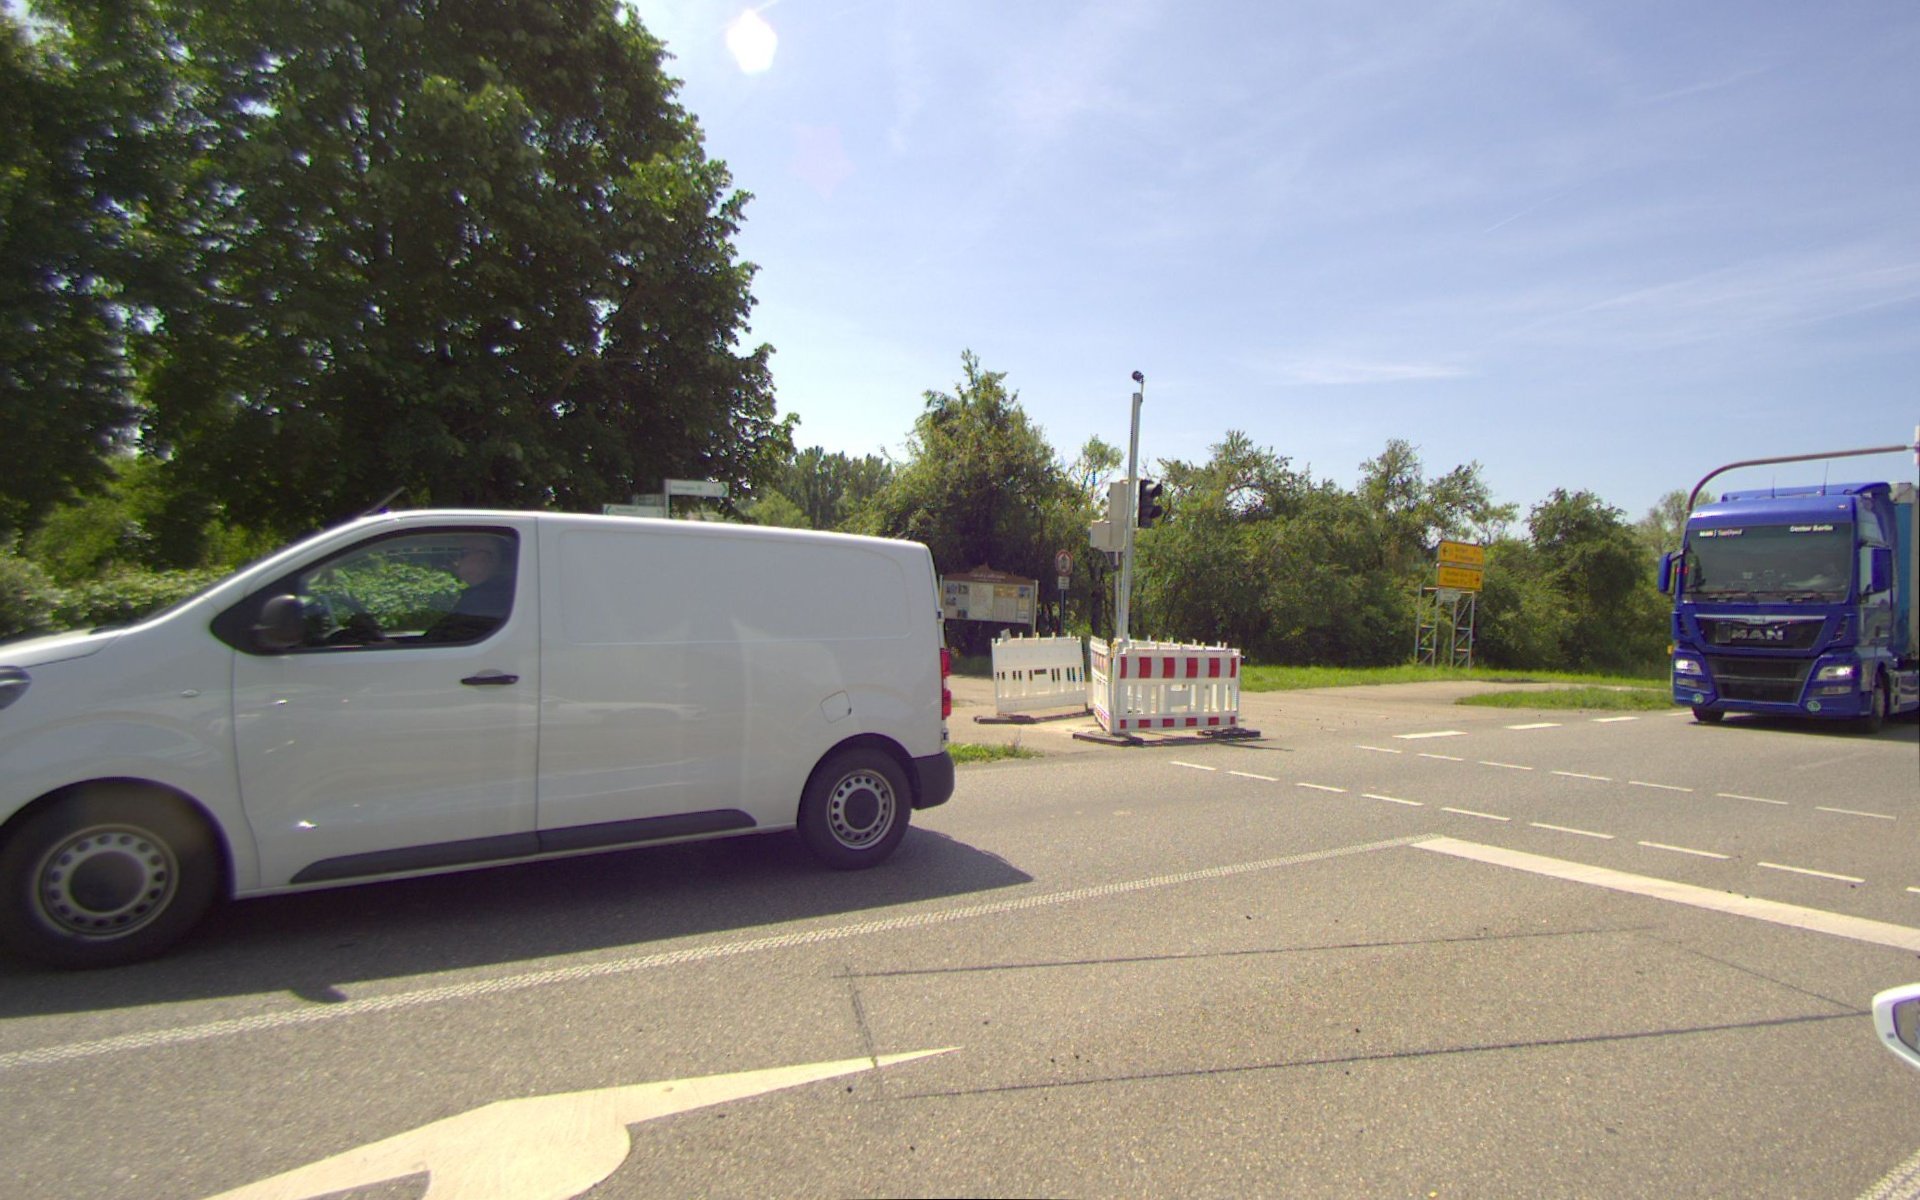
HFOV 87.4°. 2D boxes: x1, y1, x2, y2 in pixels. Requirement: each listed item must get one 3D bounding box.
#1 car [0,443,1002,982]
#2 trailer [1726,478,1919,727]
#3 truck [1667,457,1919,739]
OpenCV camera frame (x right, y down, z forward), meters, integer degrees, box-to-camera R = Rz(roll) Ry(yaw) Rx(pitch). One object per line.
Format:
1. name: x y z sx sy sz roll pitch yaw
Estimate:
1. car: -2.308 0.475 5.429 4.901 1.911 1.859 3 -1 -34
2. trailer: 20.047 0.202 21.776 13.482 4.083 2.545 2 -1 -40
3. truck: 15.002 0.045 17.613 6.504 4.083 2.546 2 -1 -39
